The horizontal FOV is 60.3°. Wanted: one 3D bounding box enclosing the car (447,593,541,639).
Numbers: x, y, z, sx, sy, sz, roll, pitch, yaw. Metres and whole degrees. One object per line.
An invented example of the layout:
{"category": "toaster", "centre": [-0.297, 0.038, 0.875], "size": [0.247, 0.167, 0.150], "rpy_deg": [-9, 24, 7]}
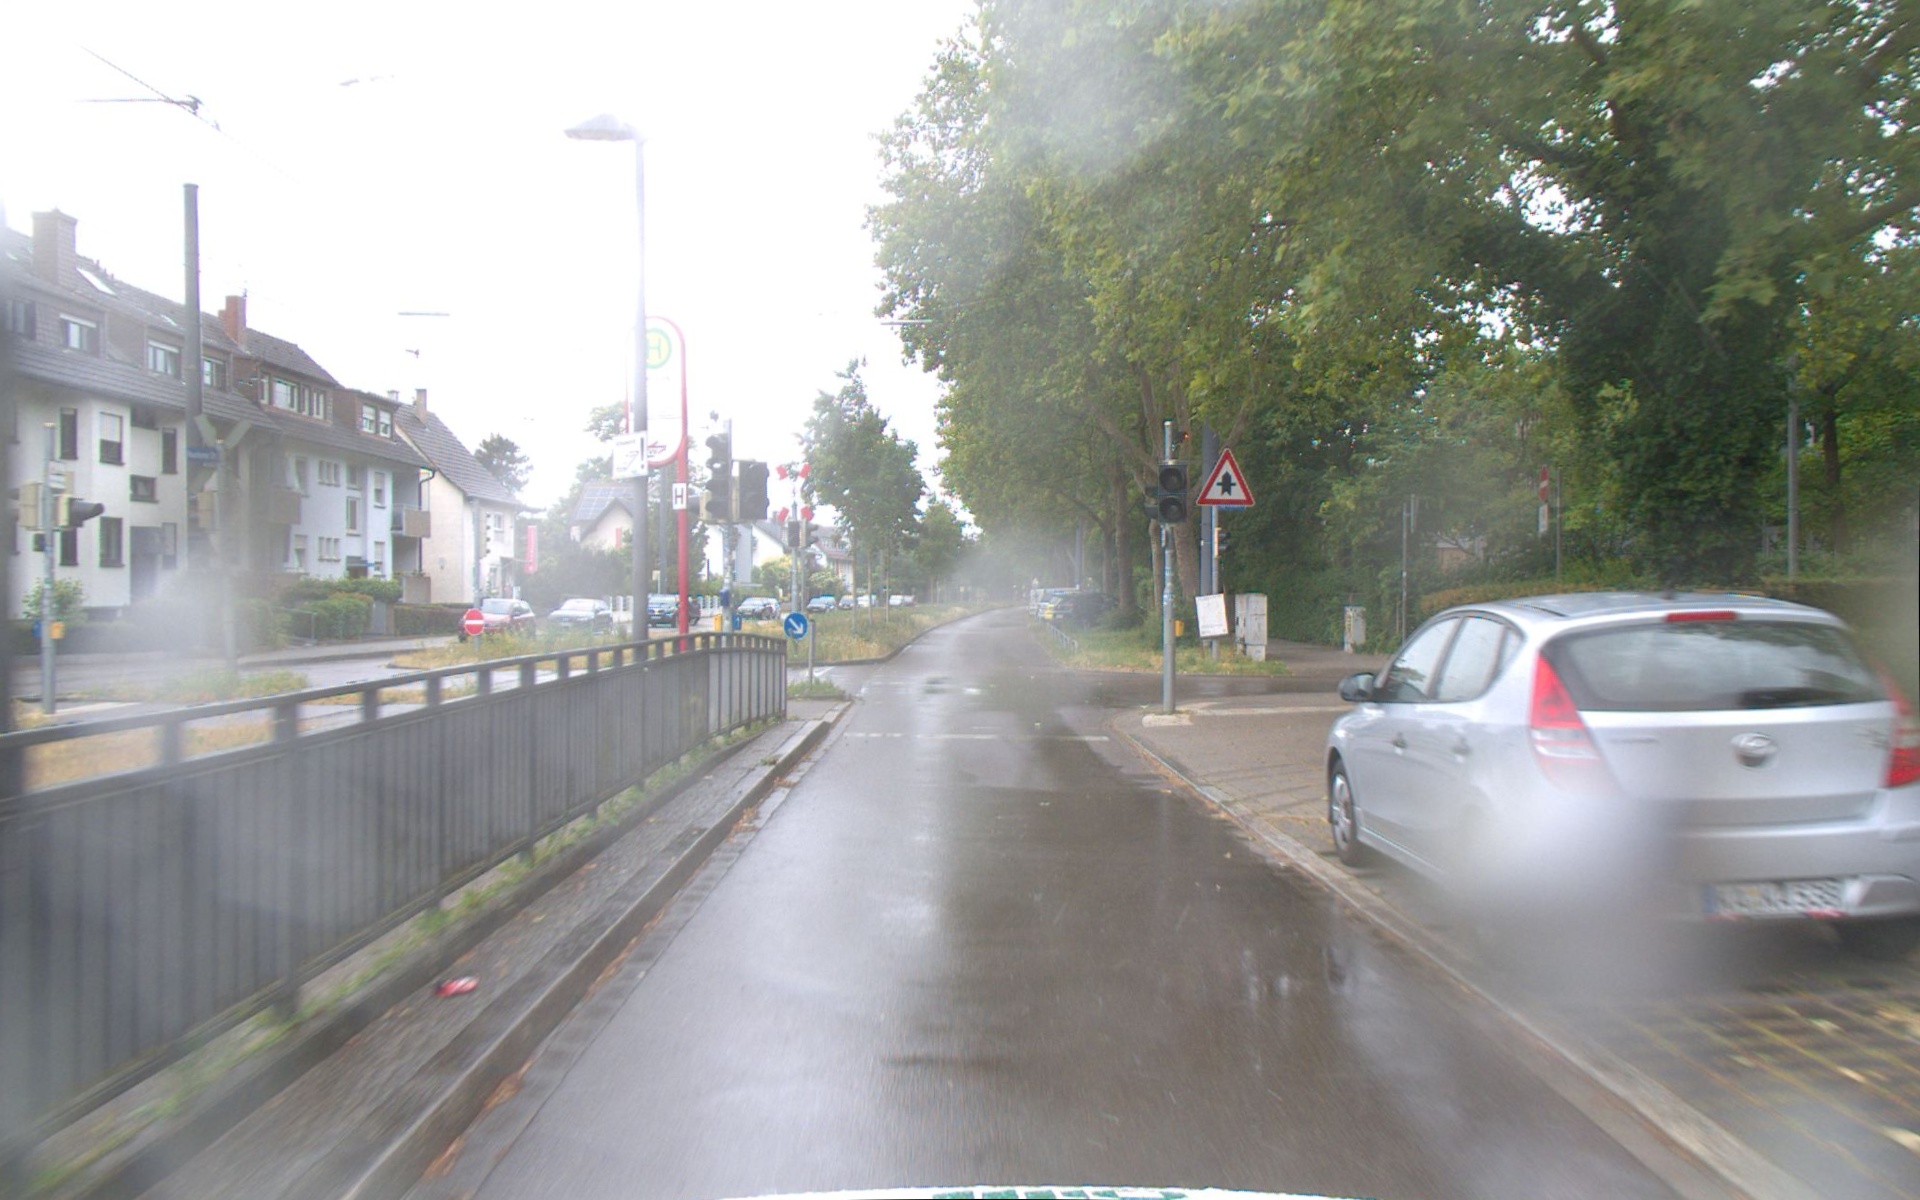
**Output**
{"category": "car", "centre": [-15.772, 0.538, 56.142], "size": [1.888, 1.512, 4.001], "rpy_deg": [1, 0, 2]}

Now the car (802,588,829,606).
{"category": "car", "centre": [-12.659, -0.282, 145.153], "size": [1.888, 1.512, 4.001], "rpy_deg": [1, 0, 2]}

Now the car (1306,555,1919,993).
{"category": "car", "centre": [2.978, 0.631, 7.871], "size": [1.770, 1.493, 3.793], "rpy_deg": [-3, -1, -1]}

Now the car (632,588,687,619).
{"category": "car", "centre": [-15.229, 0.186, 83.970], "size": [1.888, 1.512, 4.001], "rpy_deg": [1, 0, 2]}

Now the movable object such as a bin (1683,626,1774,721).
{"category": "movable object such as a bin", "centre": [7.781, 0.733, 16.766], "size": [0.525, 0.914, 0.738], "rpy_deg": [-3, 0, -1]}

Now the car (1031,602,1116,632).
{"category": "car", "centre": [5.799, 0.889, 84.771], "size": [3.921, 1.478, 1.992], "rpy_deg": [1, -1, -15]}

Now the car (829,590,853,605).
{"category": "car", "centre": [-12.040, -0.236, 167.429], "size": [1.888, 1.512, 4.001], "rpy_deg": [1, 0, 2]}

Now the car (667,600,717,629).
{"category": "car", "centre": [-14.647, 0.800, 90.636], "size": [1.888, 1.512, 4.001], "rpy_deg": [1, 0, 2]}

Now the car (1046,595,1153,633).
{"category": "car", "centre": [5.640, 0.566, 66.988], "size": [3.921, 1.478, 1.992], "rpy_deg": [1, -1, -15]}

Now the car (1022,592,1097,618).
{"category": "car", "centre": [5.694, 0.298, 94.994], "size": [3.921, 1.478, 1.992], "rpy_deg": [1, -1, -15]}

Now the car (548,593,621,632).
{"category": "car", "centre": [-15.190, 0.520, 67.050], "size": [1.888, 1.512, 4.001], "rpy_deg": [1, 0, 2]}

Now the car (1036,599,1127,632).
{"category": "car", "centre": [5.821, 0.744, 79.260], "size": [3.921, 1.478, 1.992], "rpy_deg": [1, -1, -15]}

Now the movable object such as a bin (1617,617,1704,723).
{"category": "movable object such as a bin", "centre": [7.179, 0.704, 16.970], "size": [0.525, 1.039, 0.738], "rpy_deg": [-3, 0, -1]}

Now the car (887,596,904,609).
{"category": "car", "centre": [-8.155, 0.306, 209.471], "size": [1.888, 1.512, 4.001], "rpy_deg": [1, 0, 2]}

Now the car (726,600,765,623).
{"category": "car", "centre": [-14.344, 0.767, 110.686], "size": [1.888, 1.512, 4.001], "rpy_deg": [1, 0, 2]}
